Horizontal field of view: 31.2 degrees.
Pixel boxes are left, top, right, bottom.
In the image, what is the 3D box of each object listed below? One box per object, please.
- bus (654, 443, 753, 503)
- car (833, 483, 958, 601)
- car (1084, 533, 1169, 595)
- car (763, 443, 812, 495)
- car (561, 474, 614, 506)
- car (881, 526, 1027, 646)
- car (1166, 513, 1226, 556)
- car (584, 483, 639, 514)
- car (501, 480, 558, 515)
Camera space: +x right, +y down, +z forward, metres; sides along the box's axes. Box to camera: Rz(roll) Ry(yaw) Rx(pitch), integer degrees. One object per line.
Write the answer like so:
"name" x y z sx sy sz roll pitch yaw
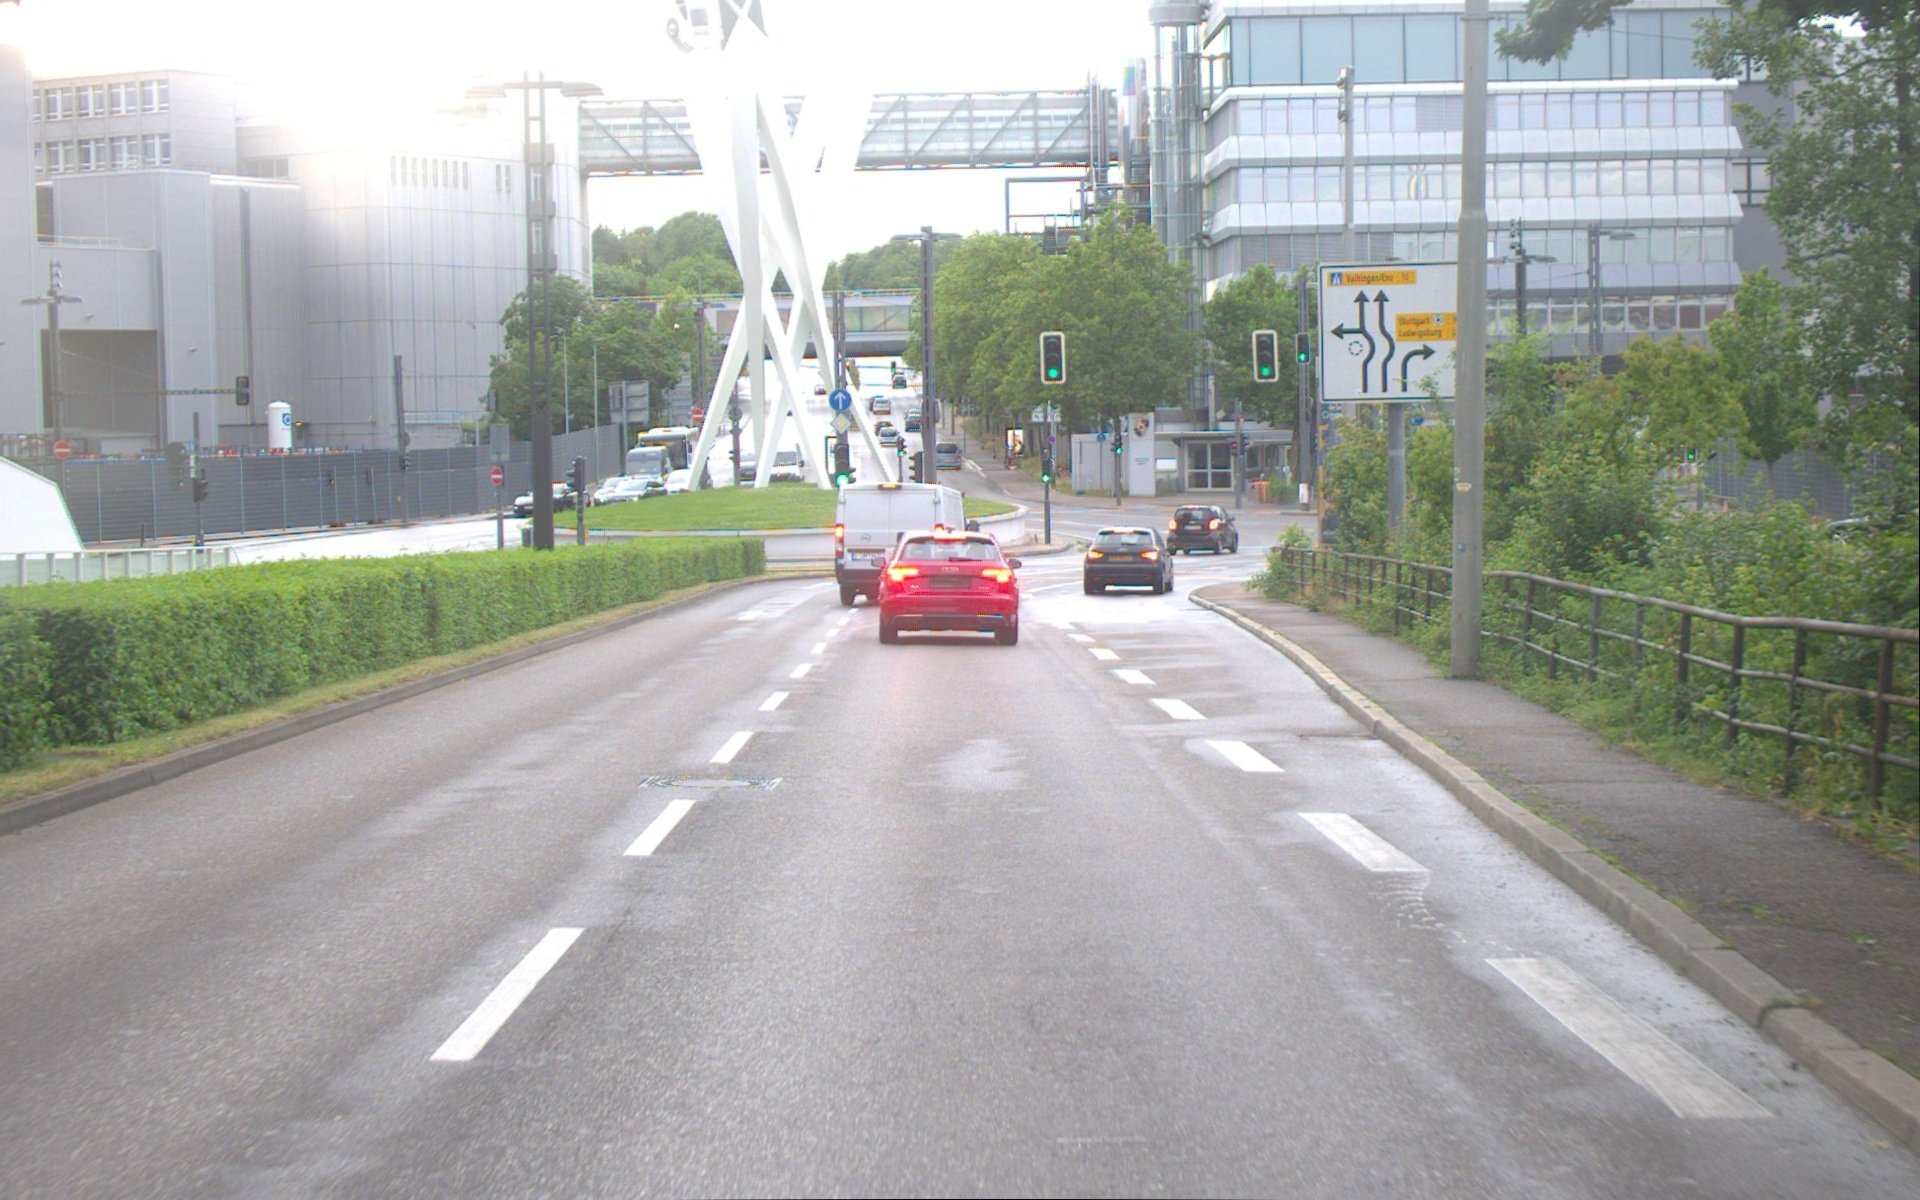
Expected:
"bus" -13.970 -6.977 188.322 2.670 3.189 12.666 0 2 9
"car" -1.212 -1.110 64.691 2.232 2.100 4.955 -1 1 -1
"car" 3.522 -0.785 73.188 1.610 1.286 3.567 0 1 0
"car" -8.424 -6.419 168.270 1.993 2.438 5.427 -1 2 1
"car" -17.227 -5.113 159.254 1.833 1.467 4.514 -1 2 2
"car" -0.091 -0.208 43.906 1.772 1.459 3.733 0 1 0
"car" 7.202 -2.006 105.152 1.557 1.284 3.414 0 1 0
"car" -15.495 -4.531 152.902 1.845 1.333 4.000 -1 2 3
"car" -19.118 -4.572 152.938 1.833 1.467 4.514 -1 2 2
